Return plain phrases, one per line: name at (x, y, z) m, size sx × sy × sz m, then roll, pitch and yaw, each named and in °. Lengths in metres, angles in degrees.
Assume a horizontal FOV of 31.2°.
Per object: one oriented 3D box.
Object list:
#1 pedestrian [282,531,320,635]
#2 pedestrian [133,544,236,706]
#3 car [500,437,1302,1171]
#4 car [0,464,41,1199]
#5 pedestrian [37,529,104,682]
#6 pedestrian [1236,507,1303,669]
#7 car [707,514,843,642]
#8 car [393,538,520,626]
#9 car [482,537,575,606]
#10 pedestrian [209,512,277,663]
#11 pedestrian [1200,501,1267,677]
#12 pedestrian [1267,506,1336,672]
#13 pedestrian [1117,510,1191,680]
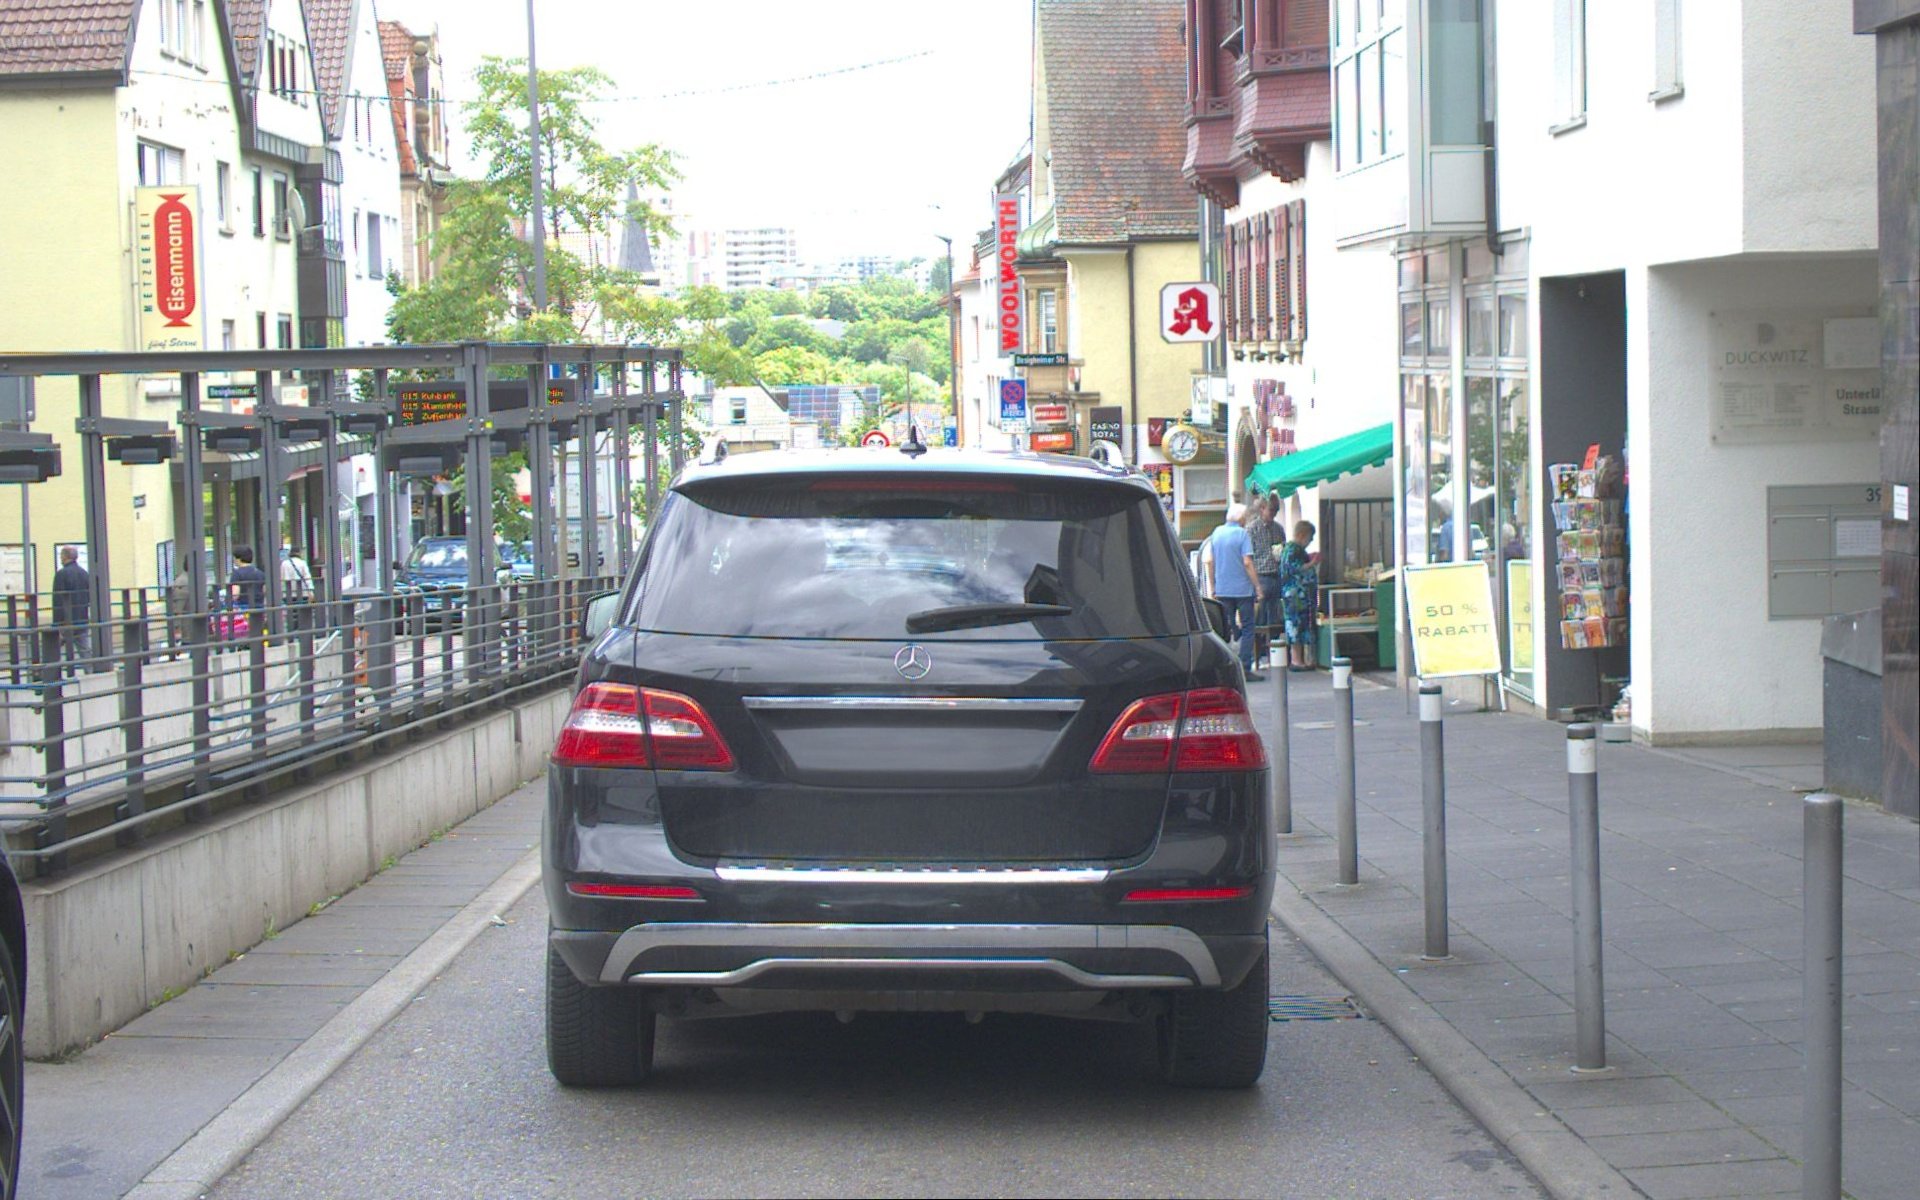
pedestrian at (-10.816, -0.285, 56.418) m, size 0.513 × 1.683 × 0.541 m, roll 1°, pitch 1°, yaw -1°
pedestrian at (-8.194, 0.255, 36.334) m, size 0.727 × 1.683 × 0.766 m, roll 1°, pitch 1°, yaw 39°
car at (-0.237, 0.457, 10.235) m, size 1.900 × 1.741 × 4.001 m, roll 1°, pitch 1°, yaw -3°
car at (-2.757, 0.580, 4.762) m, size 1.956 × 1.634 × 4.315 m, roll 1°, pitch 1°, yaw -2°
pedestrian at (-9.926, 0.057, 38.358) m, size 0.611 × 1.683 × 0.563 m, roll 0°, pitch 1°, yaw -26°
pedestrian at (3.282, -0.133, 36.448) m, size 0.573 × 1.683 × 0.566 m, roll -1°, pitch 1°, yaw -7°
car at (-2.553, -0.333, 48.180) m, size 1.770 × 1.707 × 4.000 m, roll 1°, pitch 1°, yaw -2°
car at (-8.869, -0.344, 60.816) m, size 1.689 × 1.484 × 3.979 m, roll 1°, pitch 1°, yaw -1°
car at (-9.743, -0.662, 77.768) m, size 1.660 × 1.484 × 3.748 m, roll 1°, pitch 1°, yaw -1°
pedestrian at (-8.080, -0.147, 38.766) m, size 0.625 × 1.683 × 0.679 m, roll 1°, pitch 1°, yaw -1°
pedestrian at (2.716, -0.114, 34.201) m, size 0.542 × 1.720 × 0.528 m, roll -1°, pitch 1°, yaw -7°
pedestrian at (3.516, -0.118, 35.439) m, size 0.573 × 1.683 × 0.566 m, roll -1°, pitch 1°, yaw -7°
pedestrian at (1.941, -0.057, 34.435) m, size 0.621 × 1.683 × 0.566 m, roll 1°, pitch 1°, yaw -7°
